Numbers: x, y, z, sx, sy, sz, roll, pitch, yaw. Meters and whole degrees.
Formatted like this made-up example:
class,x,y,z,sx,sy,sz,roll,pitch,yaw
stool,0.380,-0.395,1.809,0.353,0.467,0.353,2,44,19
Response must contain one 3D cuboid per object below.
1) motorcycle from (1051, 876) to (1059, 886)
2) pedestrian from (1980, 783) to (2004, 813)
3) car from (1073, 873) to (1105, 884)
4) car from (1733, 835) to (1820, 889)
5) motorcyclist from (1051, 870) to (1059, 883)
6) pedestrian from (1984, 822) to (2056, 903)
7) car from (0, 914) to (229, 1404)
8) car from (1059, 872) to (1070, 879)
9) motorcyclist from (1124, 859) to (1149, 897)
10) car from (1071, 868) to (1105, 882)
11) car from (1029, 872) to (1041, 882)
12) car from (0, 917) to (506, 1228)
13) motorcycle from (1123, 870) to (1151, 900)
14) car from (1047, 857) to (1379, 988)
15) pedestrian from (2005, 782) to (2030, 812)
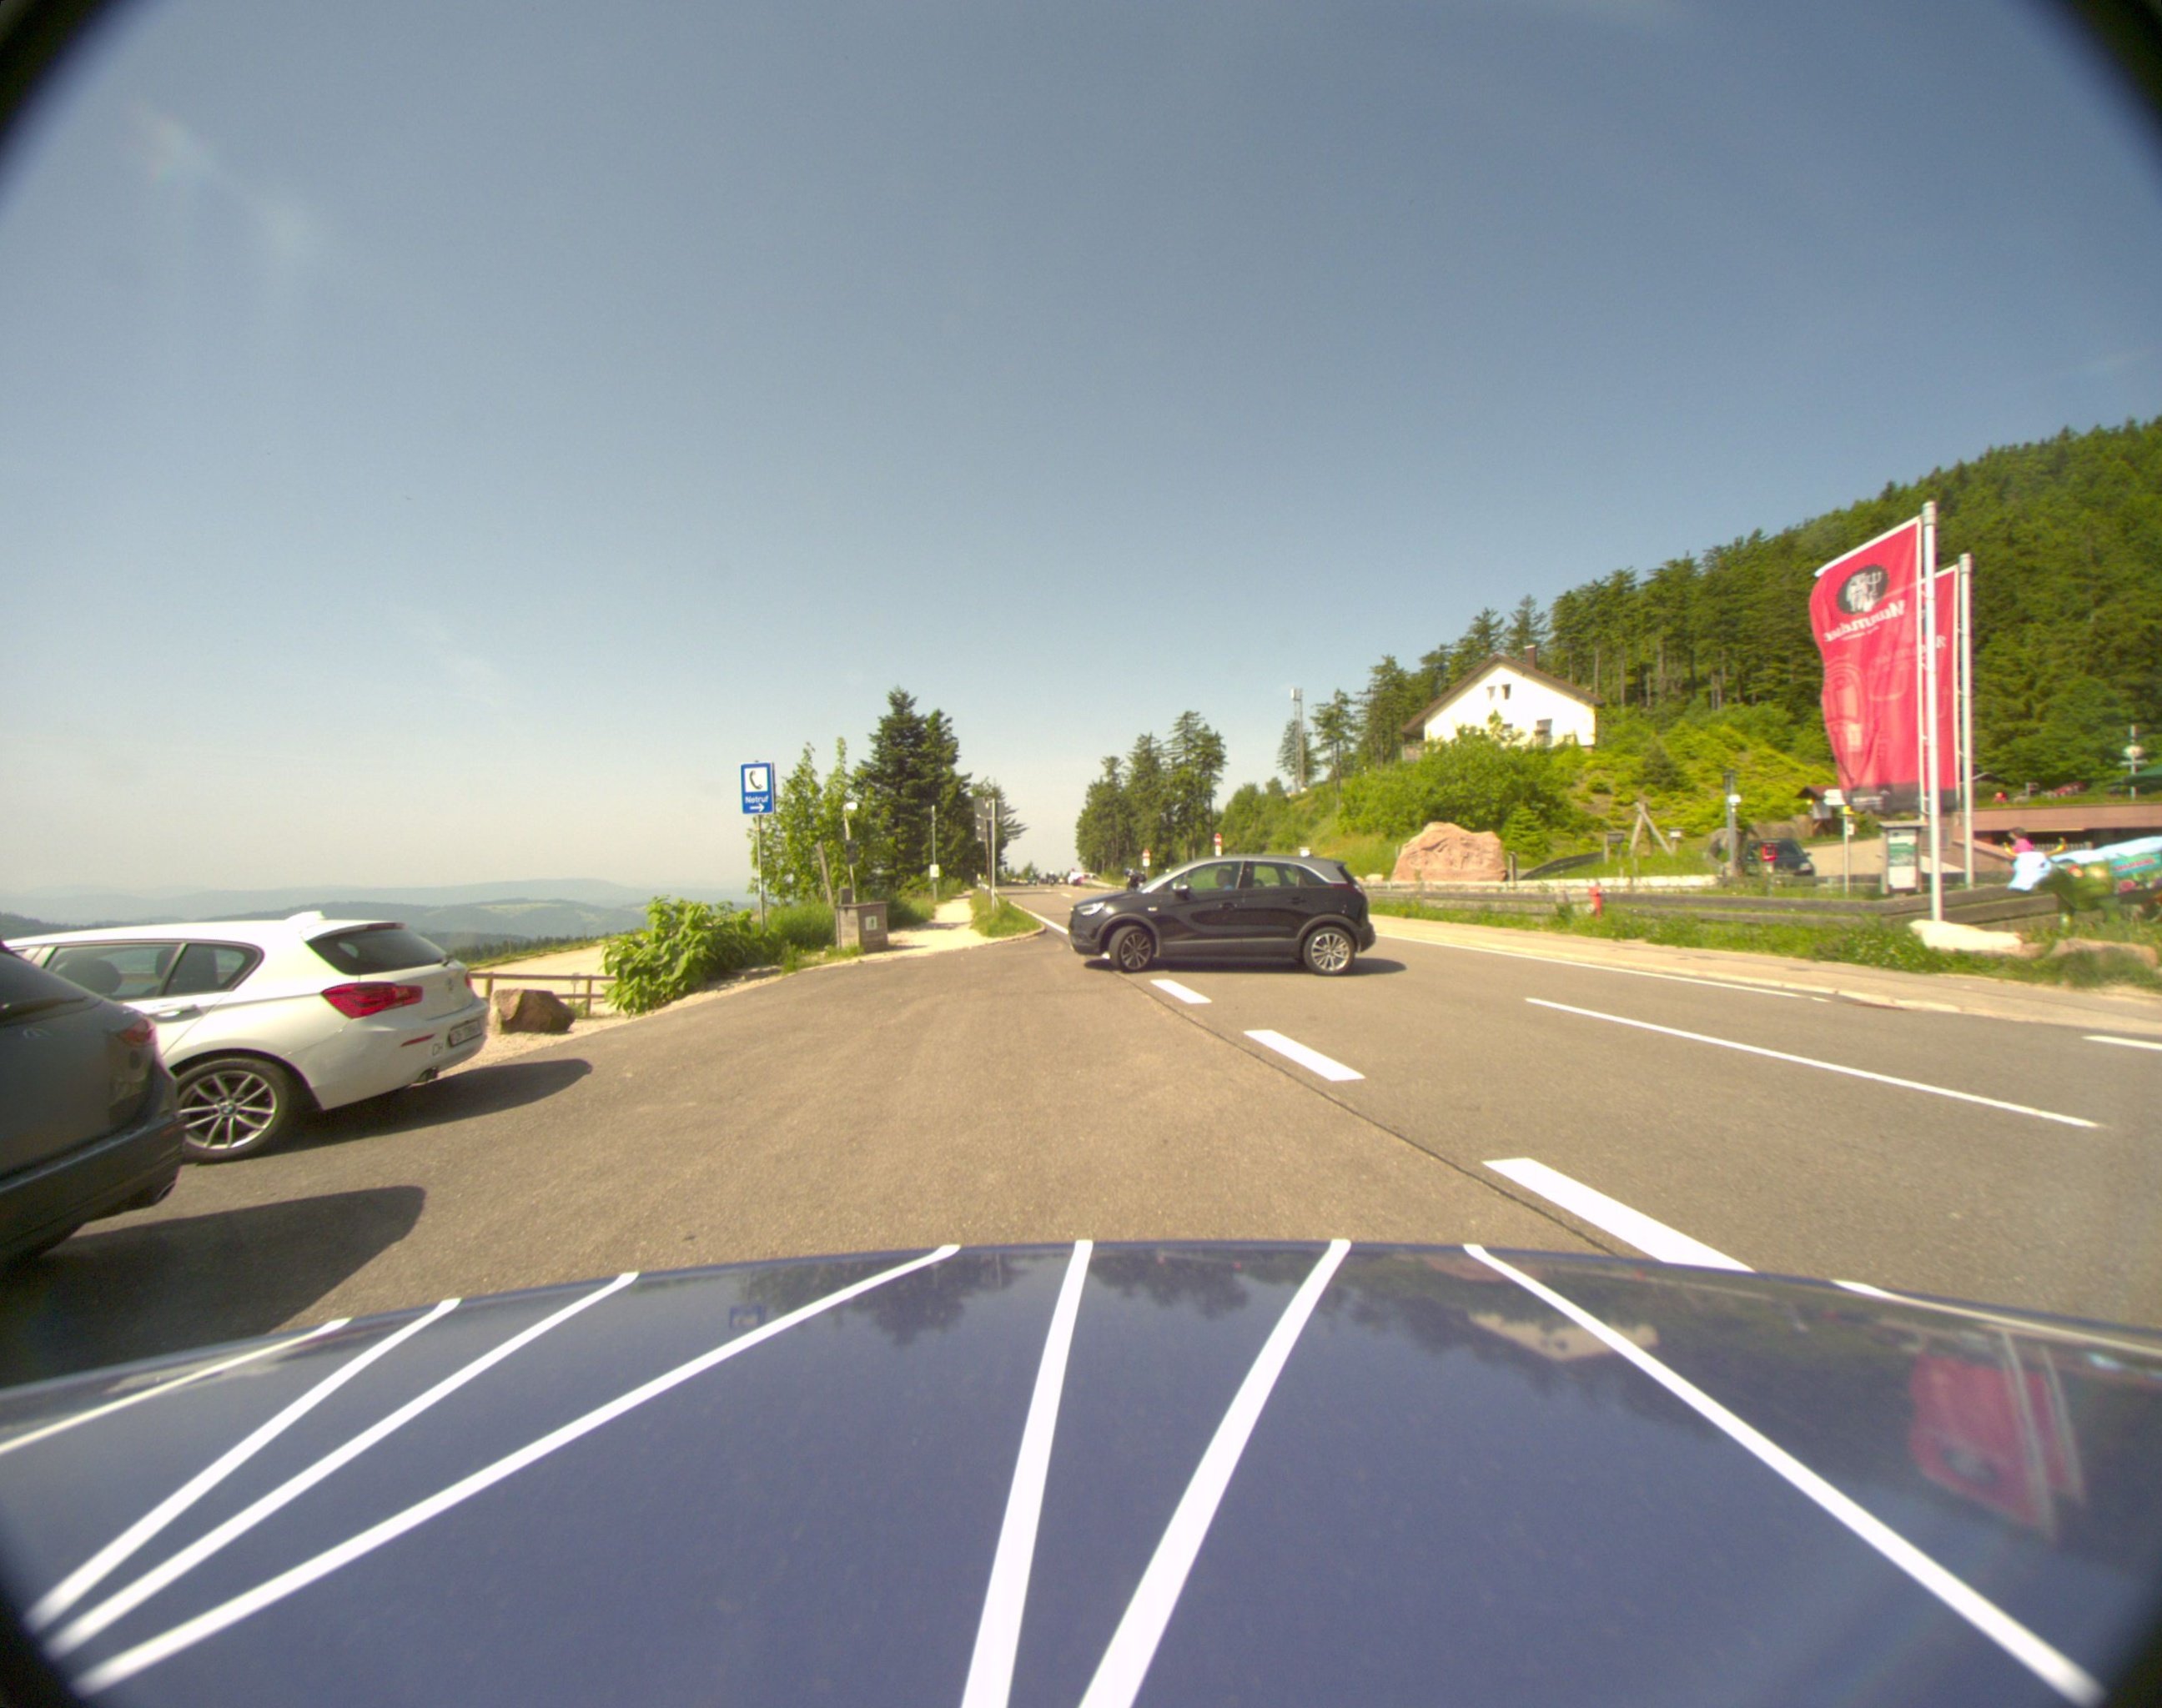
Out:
class,x,y,z,sx,sy,sz,roll,pitch,yaw
motorcycle,-2.914,3.012,84.902,0.841,1.090,2.182,1,1,-3
pedestrian,49.513,-3.052,41.282,0.572,1.533,0.633,-8,1,37
car,1.052,3.229,100.601,3.931,1.365,1.931,2,-1,-8
car,22.866,0.216,25.119,1.874,1.347,4.006,0,5,39
motorcyclist,-2.893,2.494,84.769,0.841,1.433,1.005,1,1,-3
pedestrian,20.251,0.182,16.407,0.697,1.706,0.800,-1,0,25
car,-5.704,1.158,1.819,4.415,1.559,1.904,-3,0,-21
car,-3.520,4.703,165.011,1.998,1.586,4.002,0,-1,3
motorcyclist,2.477,1.065,34.098,0.882,1.632,1.298,0,0,-8
car,0.956,3.043,111.821,4.732,1.870,1.931,2,-1,-8
car,-7.911,3.967,130.800,1.999,1.586,4.000,0,-1,-1
car,-6.268,1.301,4.644,4.003,1.377,1.654,-4,1,-20
motorcycle,2.510,1.377,34.313,0.814,1.258,2.326,0,0,-8
car,1.762,0.903,10.695,4.144,1.607,1.987,-1,0,7
pedestrian,50.024,-3.040,40.593,0.572,1.533,0.633,-8,1,37
